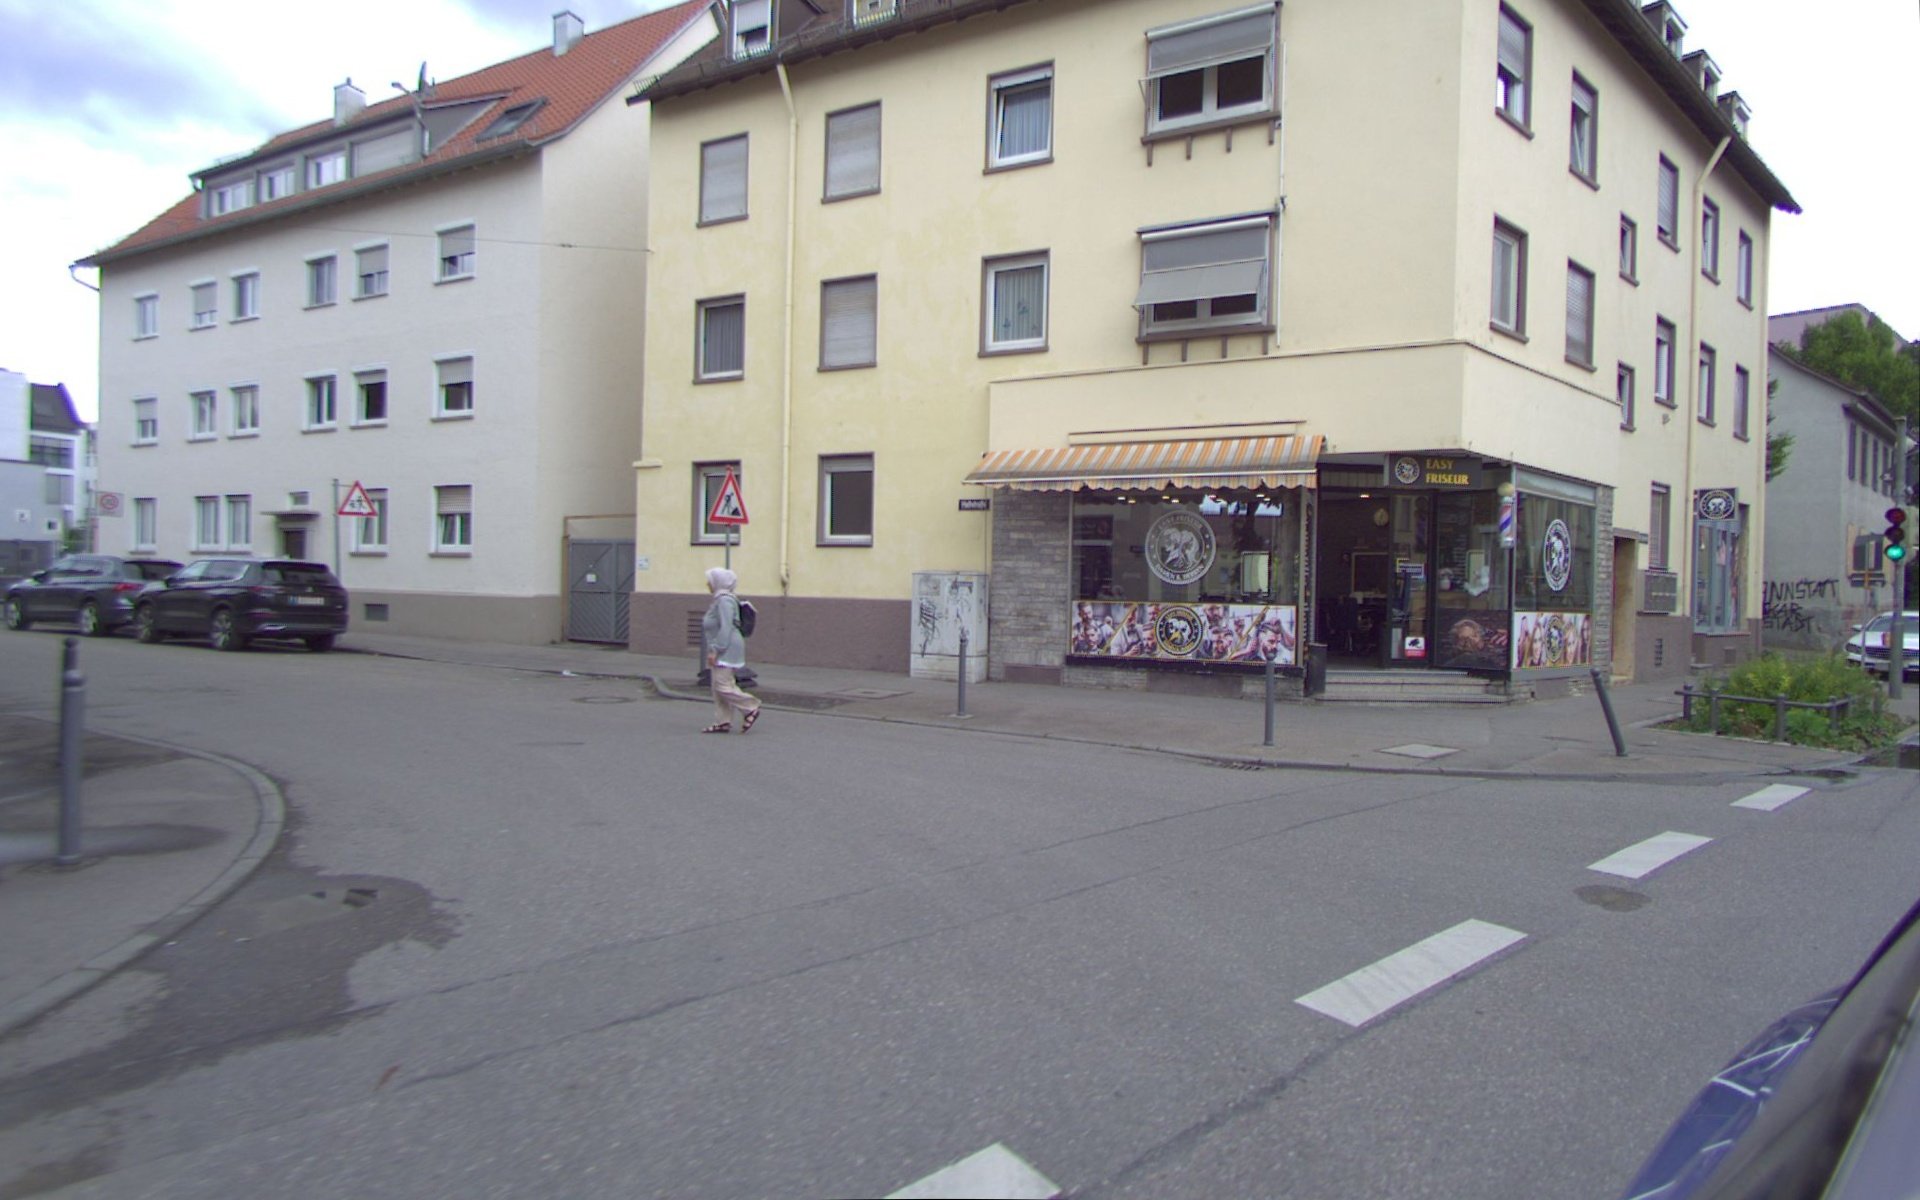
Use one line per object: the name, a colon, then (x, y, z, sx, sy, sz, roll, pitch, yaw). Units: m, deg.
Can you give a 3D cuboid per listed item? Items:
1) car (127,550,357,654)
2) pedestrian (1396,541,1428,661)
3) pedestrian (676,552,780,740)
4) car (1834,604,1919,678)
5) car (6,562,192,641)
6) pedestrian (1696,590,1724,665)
car: (-13.431, 0.021, 18.892, 4.194, 1.703, 1.757, 2, -2, 28)
pedestrian: (6.847, 0.013, 15.345, 0.391, 1.797, 0.385, 0, 0, 16)
pedestrian: (-2.194, 0.404, 9.623, 0.666, 1.684, 0.798, 1, 1, 13)
car: (21.110, 0.850, 22.400, 4.695, 1.484, 1.772, 1, 0, -38)
car: (-18.036, 0.004, 21.197, 3.696, 1.532, 1.758, 1, 1, 28)
pedestrian: (15.699, 0.575, 21.189, 0.411, 1.550, 0.373, 0, 0, -38)
